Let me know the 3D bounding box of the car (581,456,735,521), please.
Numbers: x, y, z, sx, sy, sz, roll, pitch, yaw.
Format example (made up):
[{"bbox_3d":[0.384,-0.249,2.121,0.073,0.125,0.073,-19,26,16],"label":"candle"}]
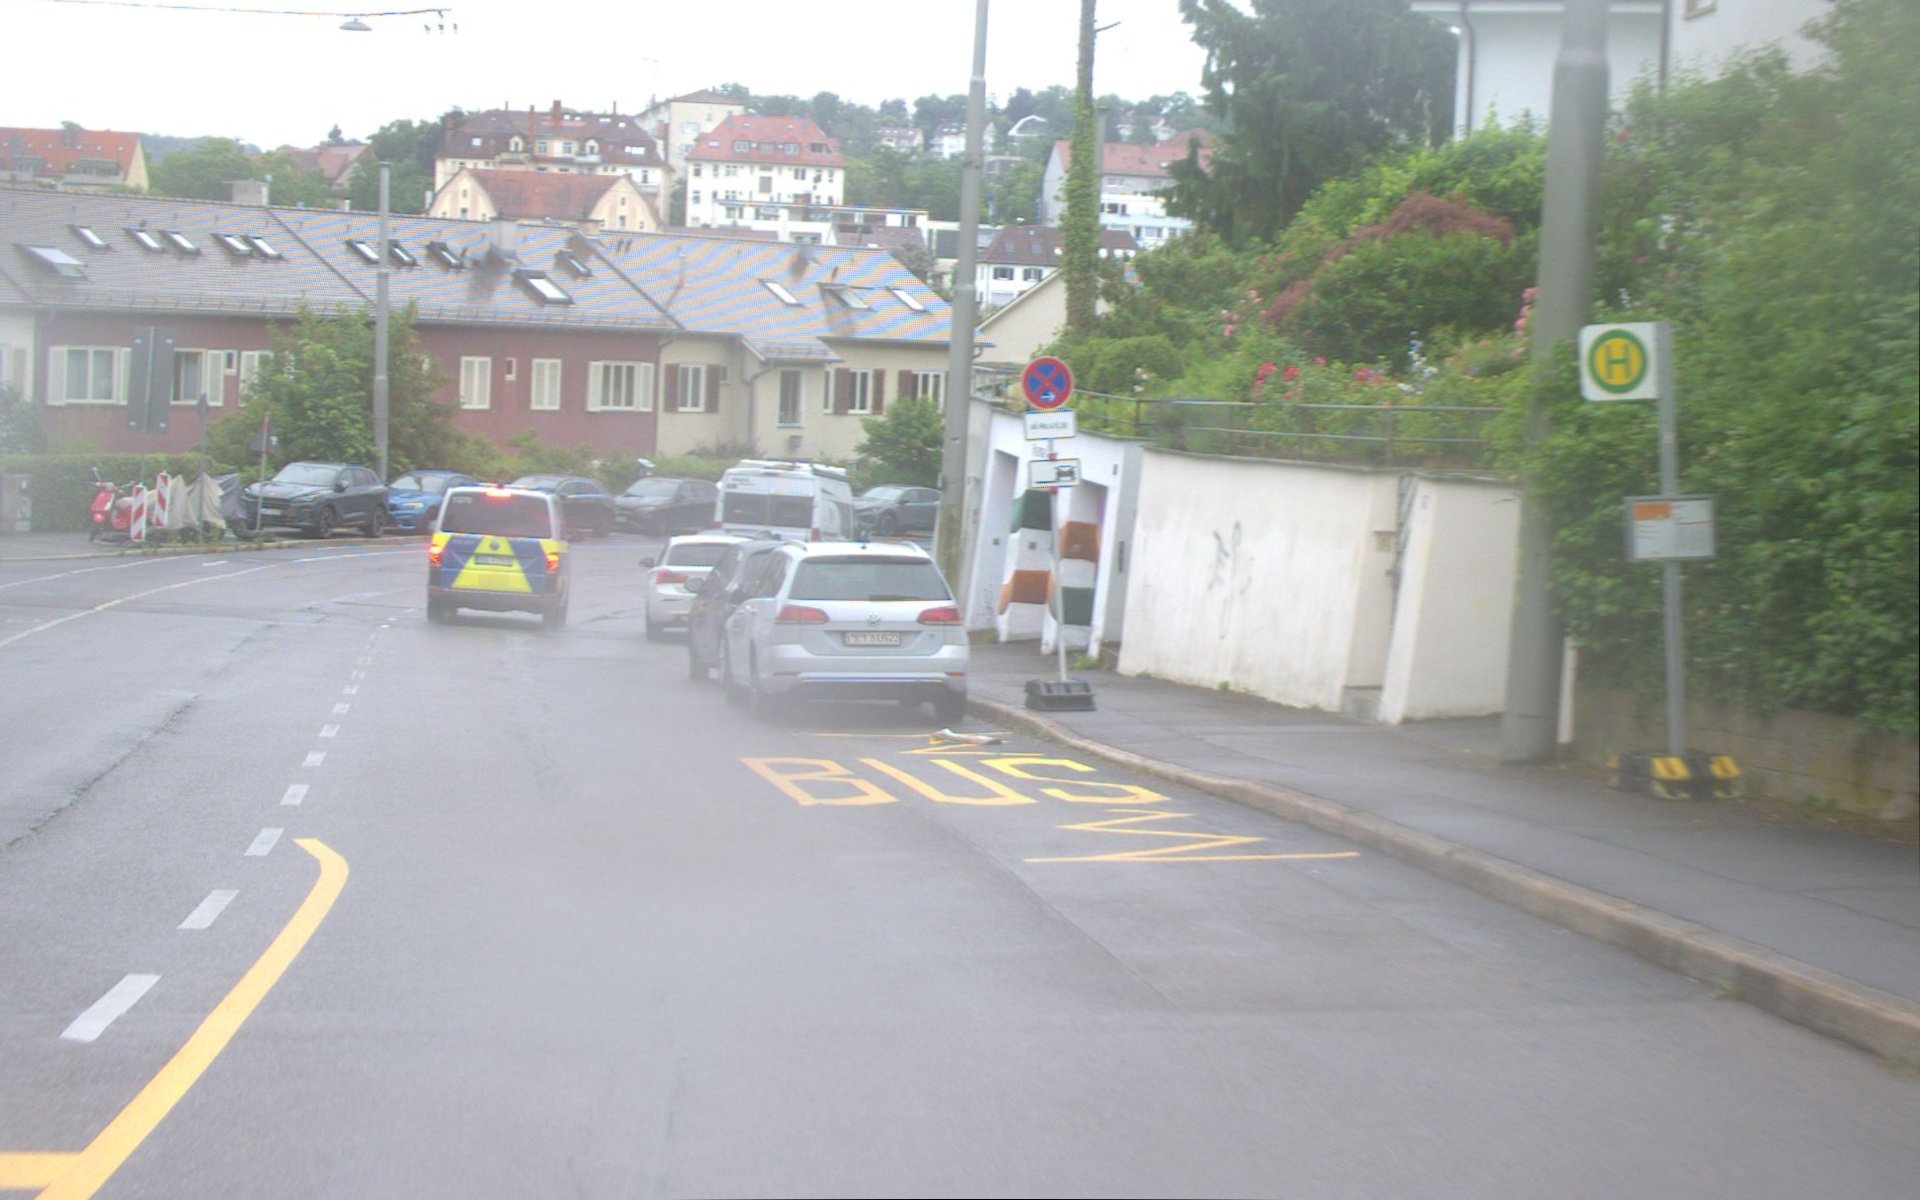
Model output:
[{"bbox_3d":[-7.836,-2.887,89.493,1.811,1.471,4.516,7,4,26],"label":"car"}]

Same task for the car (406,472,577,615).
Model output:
[{"bbox_3d":[-6.702,-0.828,49.365,2.308,1.933,4.326,-1,1,-7],"label":"car"}]

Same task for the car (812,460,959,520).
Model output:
[{"bbox_3d":[-2.129,-3.166,99.566,1.812,1.471,4.513,7,4,36],"label":"car"}]

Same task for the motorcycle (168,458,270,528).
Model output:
[{"bbox_3d":[-15.165,-2.186,70.365,1.900,1.266,0.576,4,4,-18],"label":"motorcycle"}]

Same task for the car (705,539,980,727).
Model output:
[{"bbox_3d":[-1.077,0.225,29.063,1.781,1.415,4.431,1,1,-9],"label":"car"}]

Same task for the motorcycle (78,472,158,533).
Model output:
[{"bbox_3d":[-16.212,-1.887,66.229,0.510,1.136,1.920,2,3,20],"label":"motorcycle"}]

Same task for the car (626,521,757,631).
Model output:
[{"bbox_3d":[-3.773,-0.362,47.897,1.705,1.409,4.042,2,1,-6],"label":"car"}]

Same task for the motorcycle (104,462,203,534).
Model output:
[{"bbox_3d":[-15.928,-2.016,67.899,1.803,1.274,0.511,5,4,13],"label":"motorcycle"}]

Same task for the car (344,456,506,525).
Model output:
[{"bbox_3d":[-12.317,-2.555,79.420,1.701,1.399,4.469,7,4,19],"label":"car"}]

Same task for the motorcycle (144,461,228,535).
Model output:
[{"bbox_3d":[-15.508,-2.050,68.850,1.806,1.298,0.612,9,5,41],"label":"motorcycle"}]

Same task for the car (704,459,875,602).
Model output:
[{"bbox_3d":[-3.181,-1.341,65.481,2.099,2.533,5.618,3,2,8],"label":"car"}]

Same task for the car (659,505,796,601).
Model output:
[{"bbox_3d":[-4.014,-0.850,59.970,1.754,1.490,4.184,3,2,4],"label":"car"}]

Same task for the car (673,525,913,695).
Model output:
[{"bbox_3d":[-1.714,0.055,34.002,1.713,1.508,4.001,1,2,-12],"label":"car"}]

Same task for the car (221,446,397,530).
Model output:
[{"bbox_3d":[-14.055,-2.448,74.476,1.923,1.571,4.385,6,4,15],"label":"car"}]

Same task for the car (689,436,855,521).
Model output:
[{"bbox_3d":[-5.144,-3.324,94.654,1.852,2.071,5.011,7,4,32],"label":"car"}]
